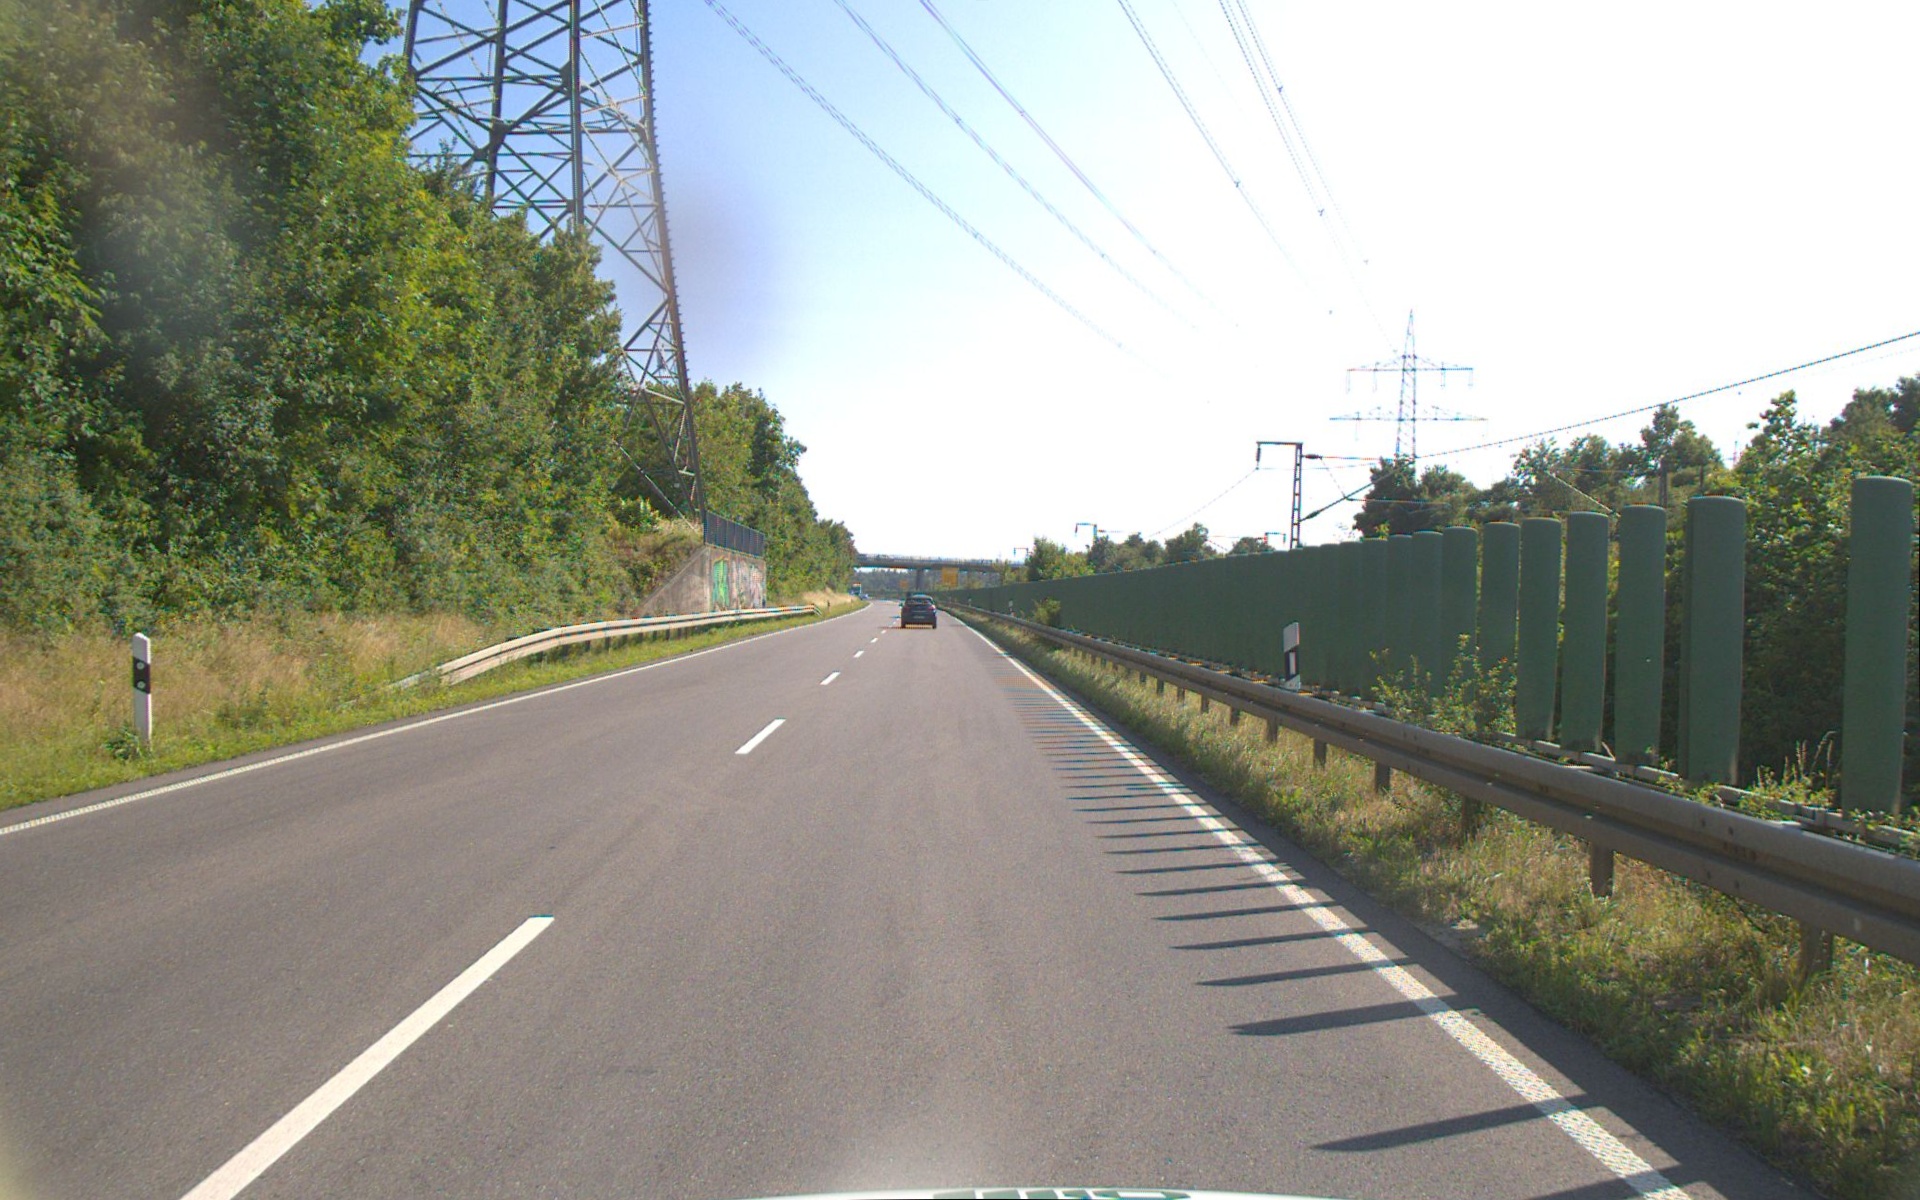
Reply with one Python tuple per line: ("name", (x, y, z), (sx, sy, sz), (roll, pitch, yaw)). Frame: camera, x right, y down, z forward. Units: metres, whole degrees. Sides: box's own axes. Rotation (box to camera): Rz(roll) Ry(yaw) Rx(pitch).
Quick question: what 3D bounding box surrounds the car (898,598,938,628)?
("car", (-1.915, 0.592, 74.934), (1.630, 1.283, 3.997), (1, 0, -4))
